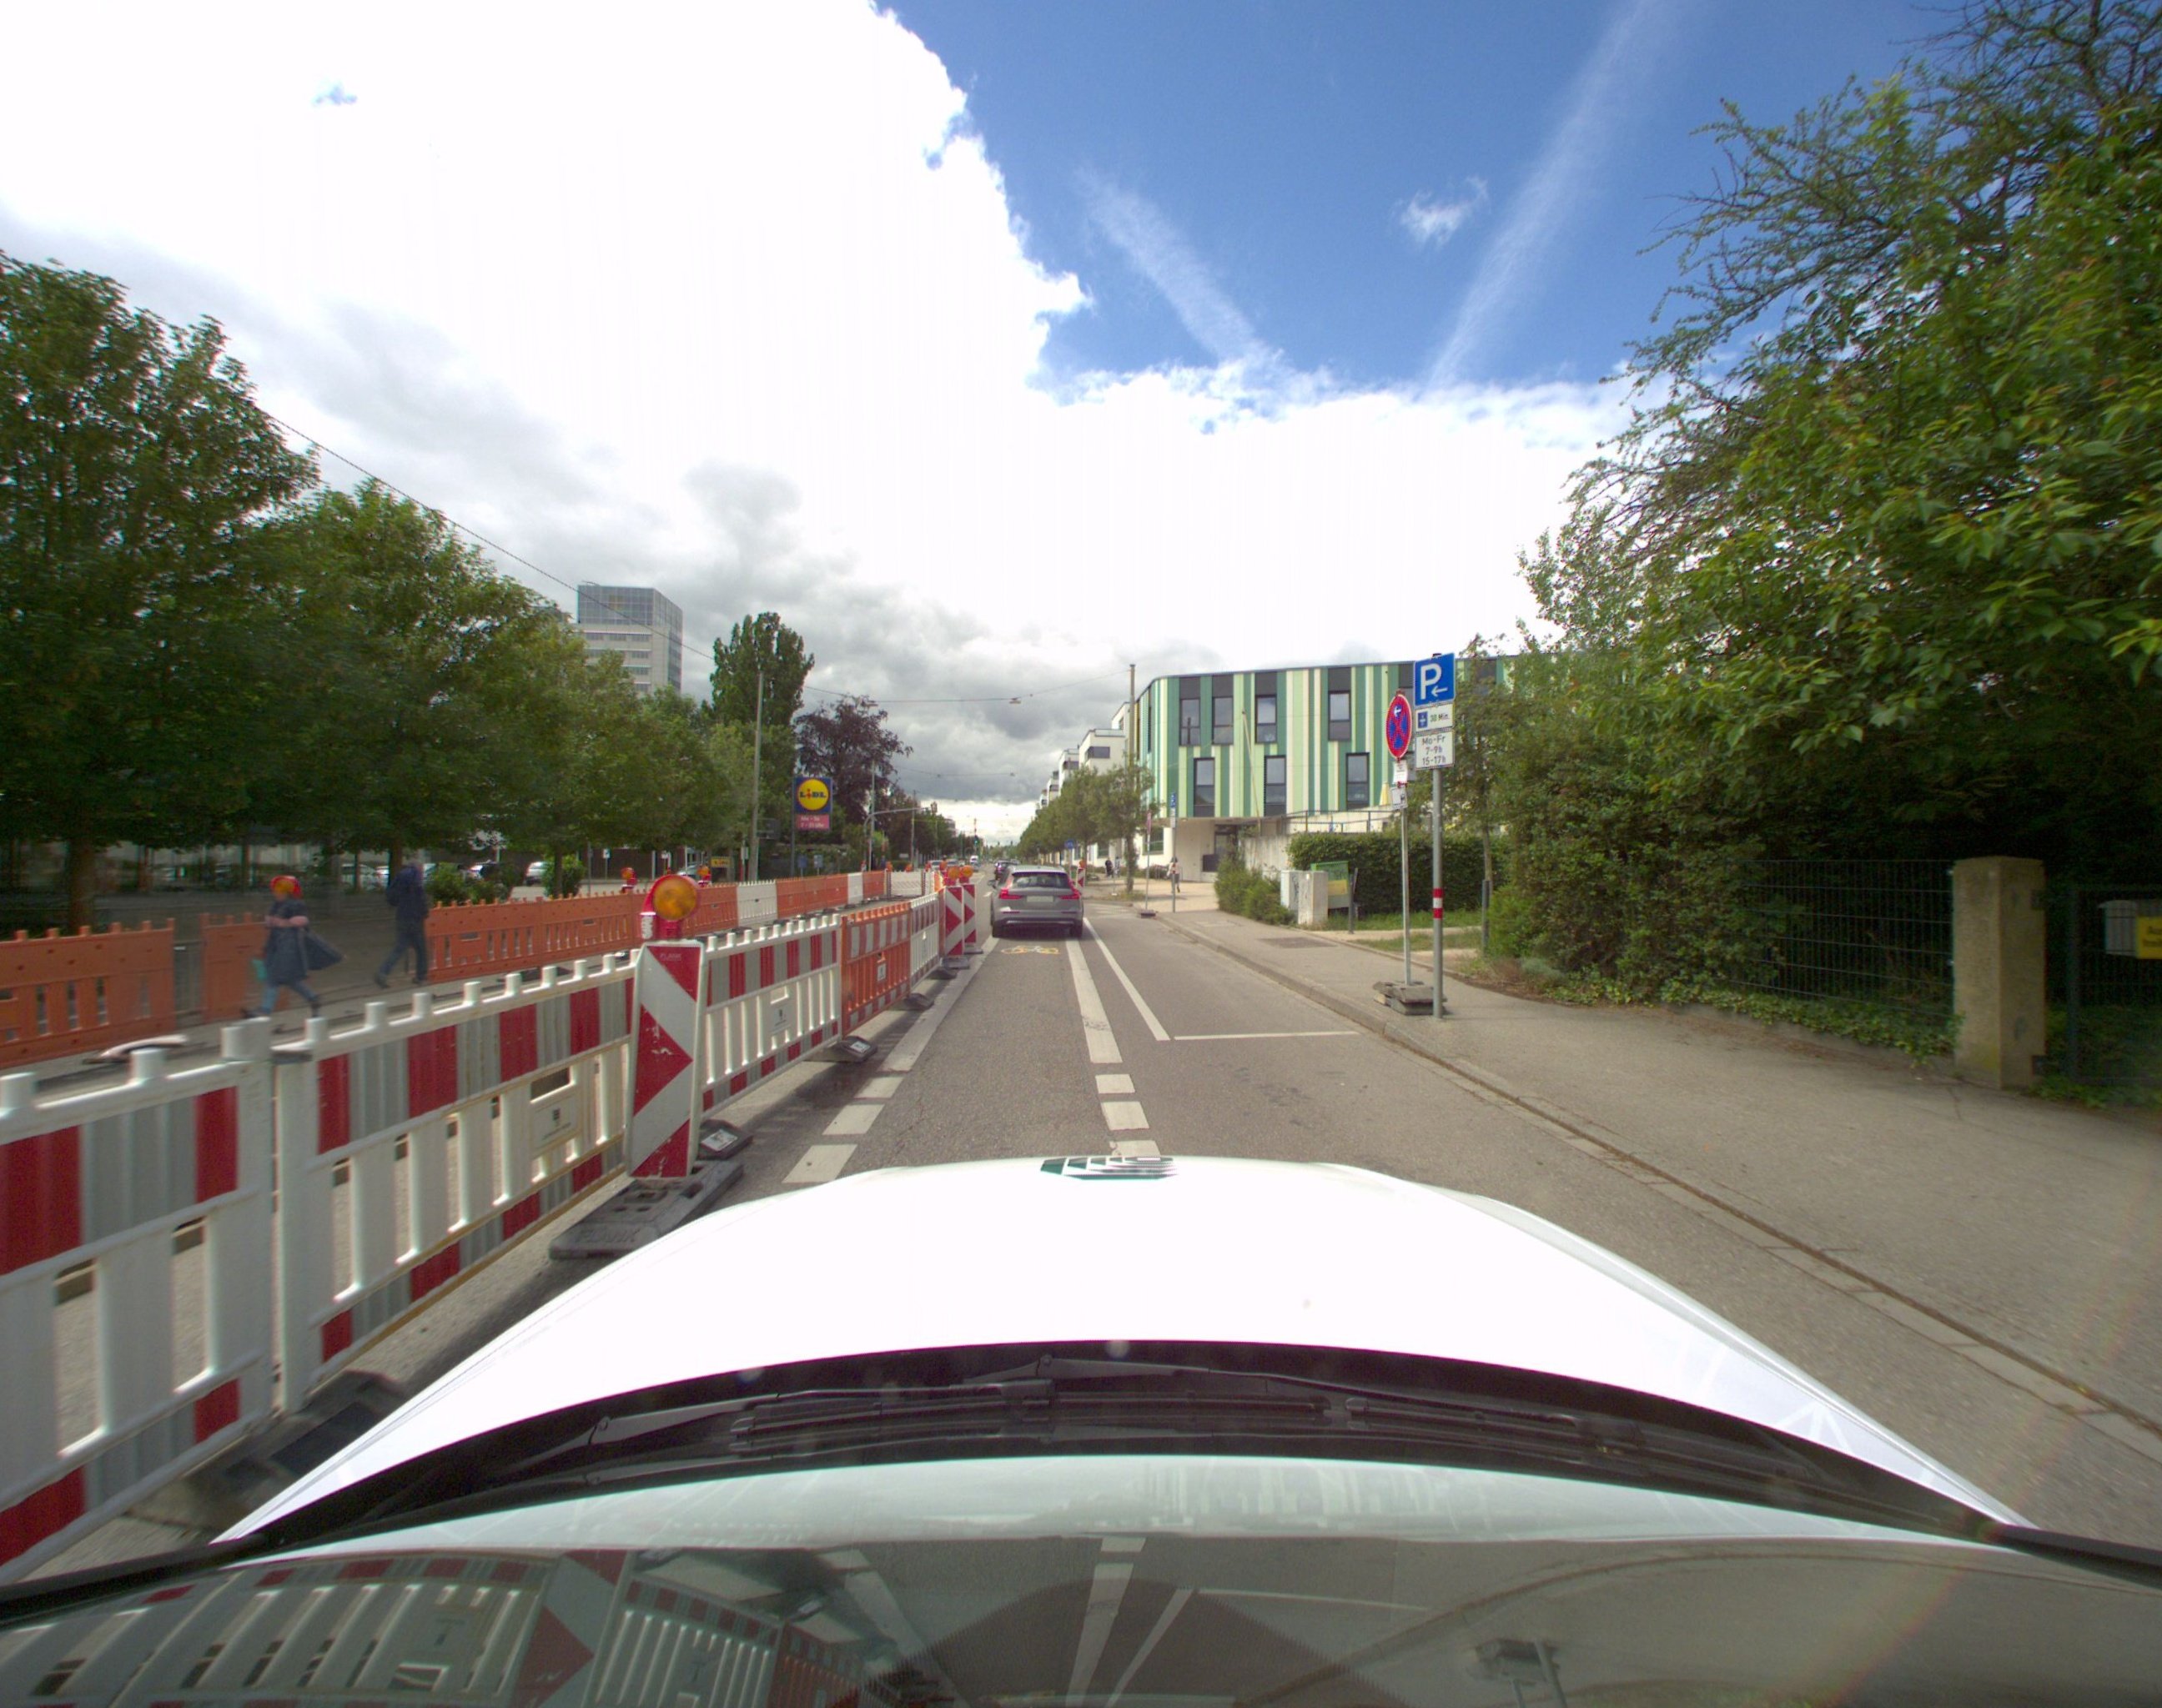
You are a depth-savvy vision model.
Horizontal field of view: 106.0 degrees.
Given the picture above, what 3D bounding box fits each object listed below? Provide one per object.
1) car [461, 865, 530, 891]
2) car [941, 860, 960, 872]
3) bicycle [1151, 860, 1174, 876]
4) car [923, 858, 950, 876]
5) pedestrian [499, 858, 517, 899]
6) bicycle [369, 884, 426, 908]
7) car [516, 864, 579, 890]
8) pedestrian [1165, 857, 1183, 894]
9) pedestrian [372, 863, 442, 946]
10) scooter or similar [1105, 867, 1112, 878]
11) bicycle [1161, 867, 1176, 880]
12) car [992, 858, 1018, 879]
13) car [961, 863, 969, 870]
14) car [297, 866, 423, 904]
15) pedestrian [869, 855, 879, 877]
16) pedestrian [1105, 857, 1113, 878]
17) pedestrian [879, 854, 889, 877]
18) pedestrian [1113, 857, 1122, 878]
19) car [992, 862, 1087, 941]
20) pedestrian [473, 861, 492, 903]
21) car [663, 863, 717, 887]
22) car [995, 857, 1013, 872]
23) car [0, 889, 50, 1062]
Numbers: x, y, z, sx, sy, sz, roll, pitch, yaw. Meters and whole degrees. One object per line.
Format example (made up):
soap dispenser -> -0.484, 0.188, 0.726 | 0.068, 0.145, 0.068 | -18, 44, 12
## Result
car -> -37.300, 1.518, 52.037 | 1.993, 1.552, 3.986 | -1, 0, -10
car -> -16.772, 1.560, 104.870 | 1.991, 1.400, 4.801 | -2, 0, -6
bicycle -> 5.485, 0.910, 54.773 | 1.468, 1.046, 0.305 | -1, 0, -19
car -> -13.123, 1.154, 74.338 | 1.849, 1.513, 3.997 | -1, 0, -2
pedestrian -> -26.002, 1.108, 36.988 | 0.420, 1.859, 0.610 | -1, 0, -9
bicycle -> -30.098, 1.838, 35.897 | 0.344, 0.957, 1.896 | -1, 0, 40
car -> -34.870, 1.463, 53.326 | 1.993, 1.552, 3.986 | -1, 0, -10
pedestrian -> 3.978, 0.899, 34.995 | 0.580, 1.551, 0.867 | -1, -1, -6
pedestrian -> -13.513, 0.985, 16.346 | 0.752, 1.603, 0.827 | -1, 0, -8
scooter or similar -> 2.182, 1.448, 64.002 | 0.421, 0.905, 0.680 | -1, 0, -6
bicycle -> 5.784, 1.259, 53.720 | 1.030, 0.842, 0.304 | -1, 0, -39
car -> -5.795, 1.060, 61.751 | 1.852, 1.513, 3.991 | 1, 0, -6
car -> -27.523, 3.018, 192.782 | 1.659, 1.515, 3.992 | 0, 0, -6
car -> -32.827, 1.362, 37.295 | 1.991, 1.572, 4.662 | -1, -1, -7
pedestrian -> -17.023, 0.977, 67.030 | 0.680, 1.854, 0.705 | -1, -1, -6
pedestrian -> 2.219, 1.058, 64.451 | 0.604, 1.655, 0.551 | -1, 0, -6
pedestrian -> -16.196, 0.962, 67.009 | 0.680, 1.854, 0.890 | -1, -1, -6
pedestrian -> 2.875, 1.058, 63.868 | 0.549, 1.655, 0.605 | -1, 0, -6
car -> -0.923, 0.940, 17.810 | 1.850, 1.513, 3.995 | 0, 0, -4
pedestrian -> -26.637, 1.246, 36.245 | 0.420, 1.859, 0.610 | -1, 0, -9
car -> -25.858, 1.360, 54.019 | 1.991, 1.453, 3.992 | -1, 0, -6
car -> -8.325, 1.131, 87.837 | 1.843, 1.513, 3.991 | 1, 0, -6
car -> -10.150, 1.032, 5.253 | 1.848, 1.453, 4.000 | 0, 0, 1
